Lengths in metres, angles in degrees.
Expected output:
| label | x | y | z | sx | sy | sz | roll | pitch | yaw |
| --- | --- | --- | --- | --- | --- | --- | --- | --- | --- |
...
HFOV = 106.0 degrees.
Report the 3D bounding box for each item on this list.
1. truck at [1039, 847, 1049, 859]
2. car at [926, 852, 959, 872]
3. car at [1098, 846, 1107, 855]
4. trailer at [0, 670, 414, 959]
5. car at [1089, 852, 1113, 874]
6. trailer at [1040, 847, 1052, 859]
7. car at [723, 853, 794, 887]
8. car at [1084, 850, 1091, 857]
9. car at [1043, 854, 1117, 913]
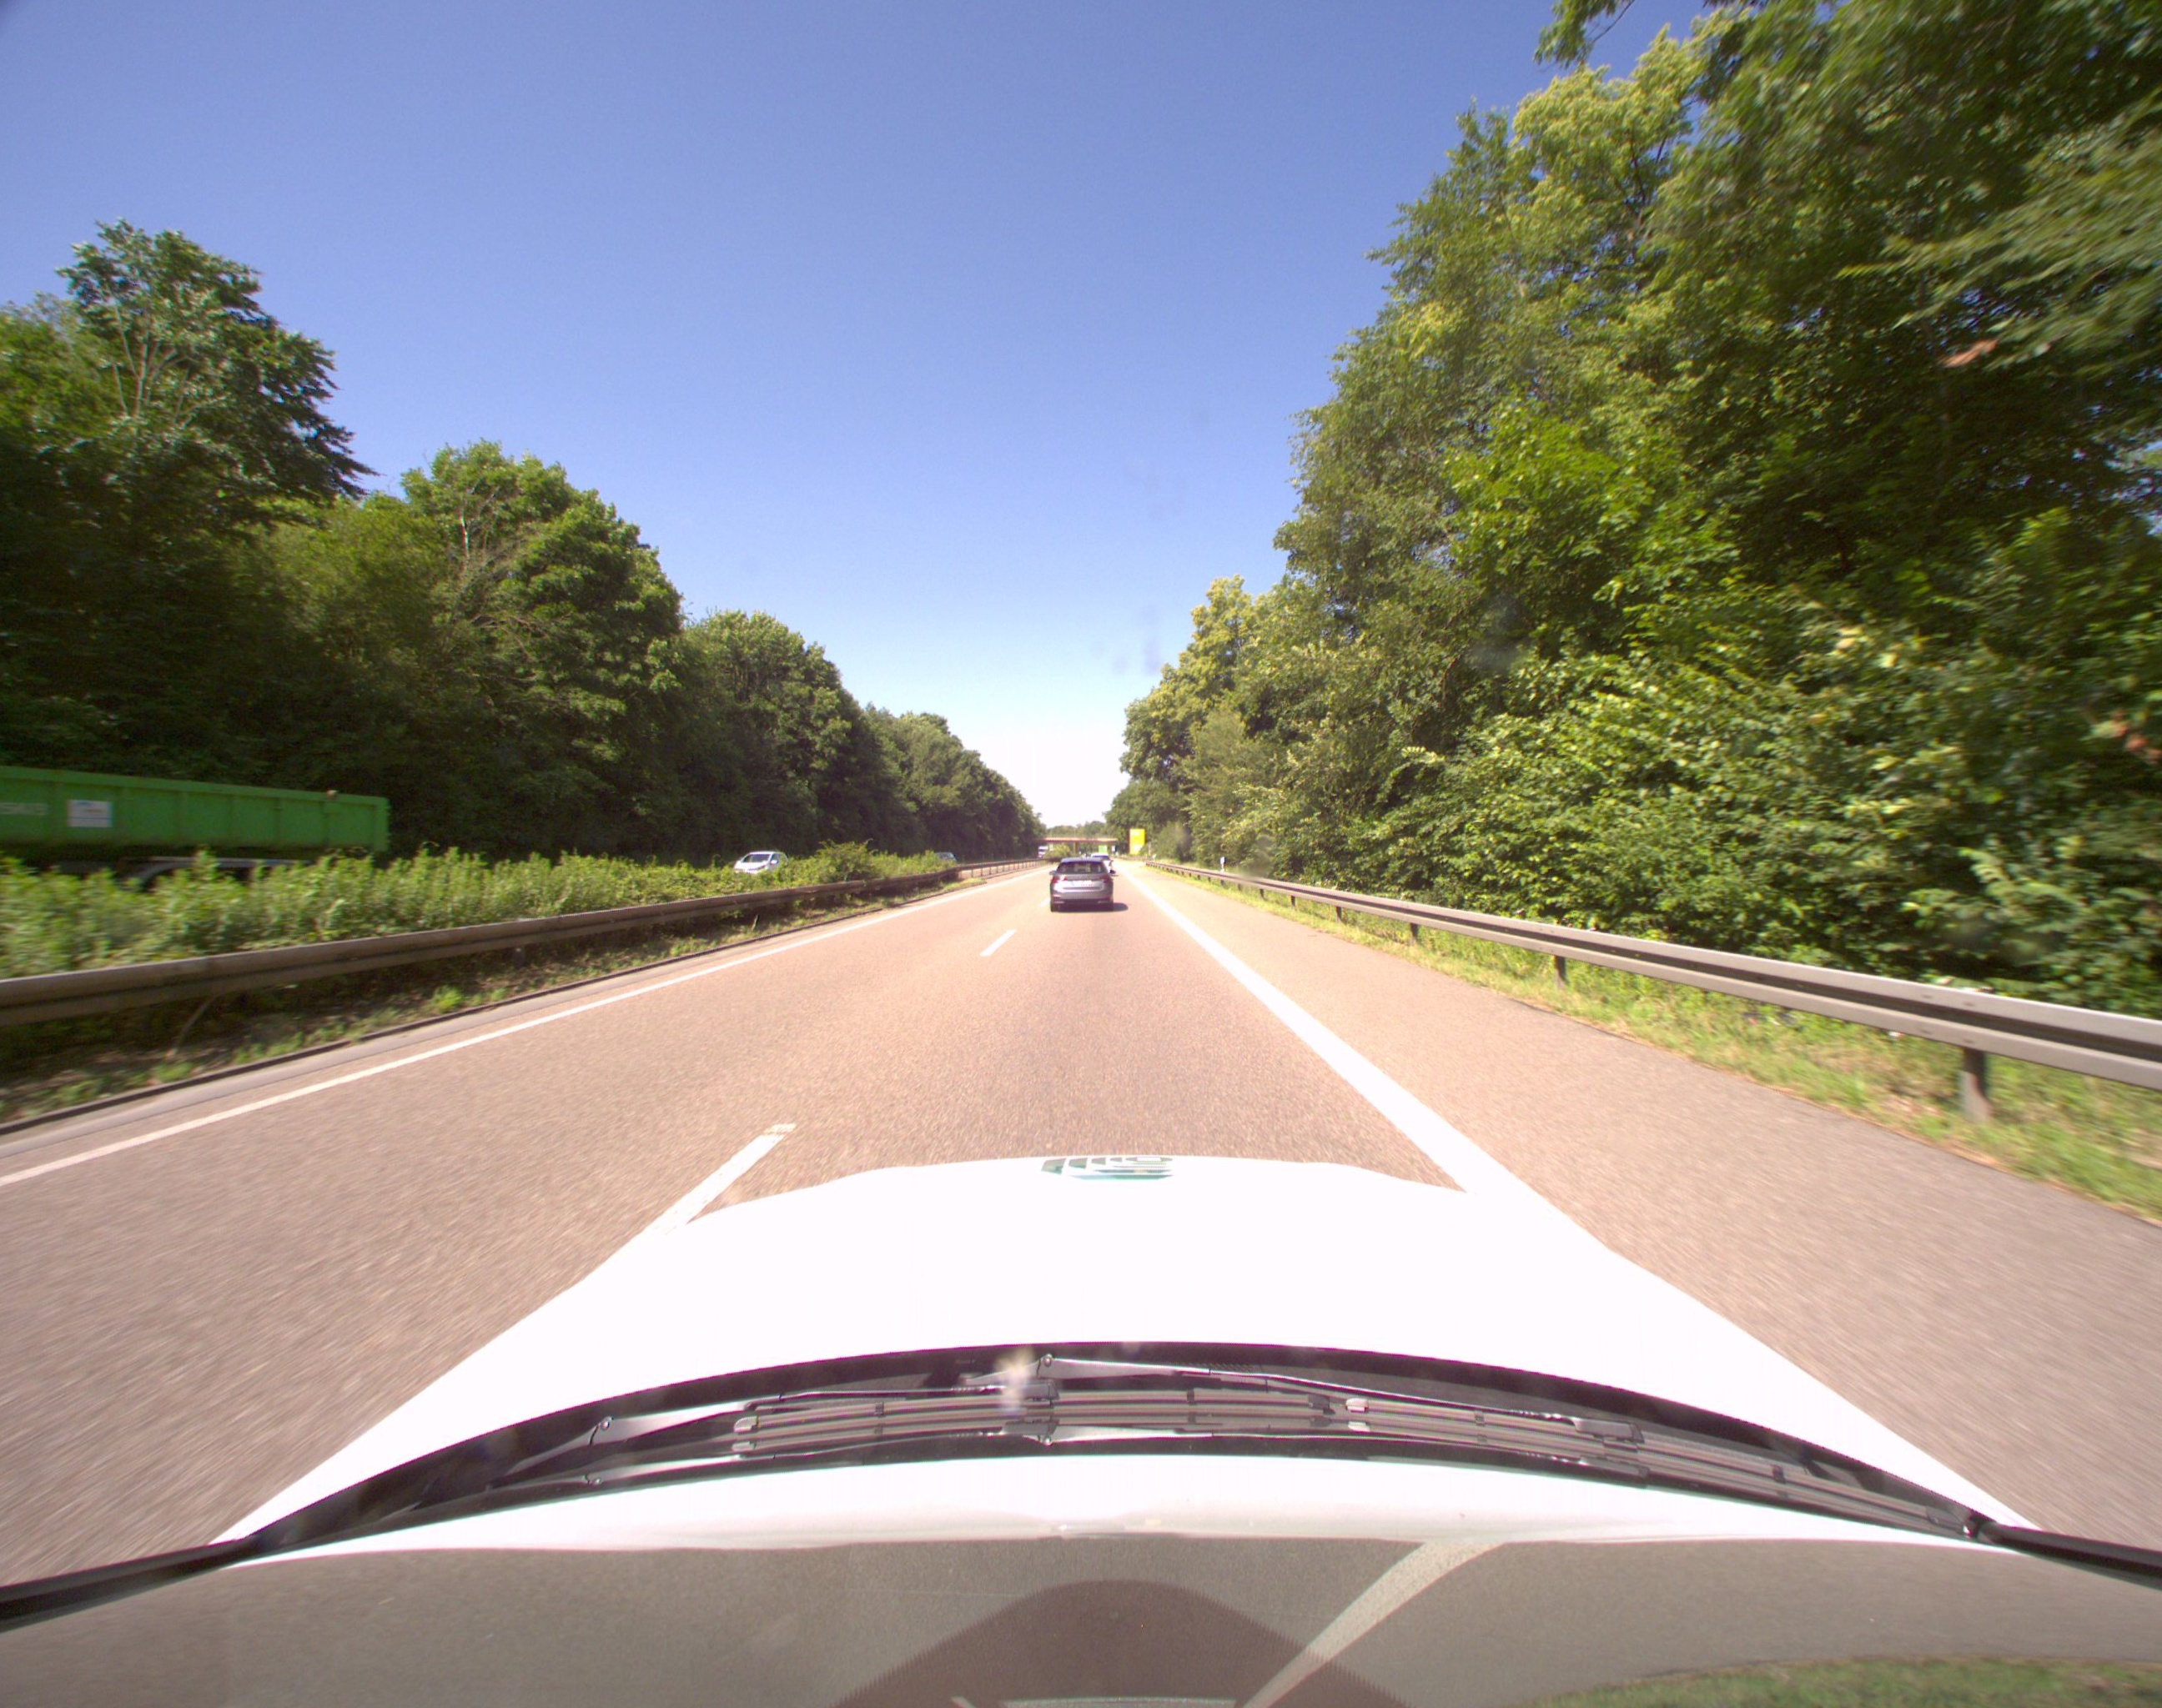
| label | x | y | z | sx | sy | sz | roll | pitch | yaw |
| --- | --- | --- | --- | --- | --- | --- | --- | --- | --- |
| truck | -9.988 | -0.352 | 221.460 | 2.416 | 3.258 | 4.002 | -1 | 0 | 2 |
| car | -10.537 | 0.597 | 62.204 | 1.665 | 1.473 | 3.626 | -1 | 0 | 3 |
| car | 6.474 | -1.018 | 242.240 | 2.738 | 2.654 | 4.001 | -1 | 0 | 1 |
| trailer | -15.139 | -0.487 | 12.692 | 2.678 | 3.712 | 7.987 | -1 | 0 | 2 |
| car | 1.385 | 0.598 | 55.480 | 1.516 | 1.446 | 3.343 | -1 | 0 | 3 |
| trailer | -9.767 | -0.313 | 228.660 | 2.483 | 3.235 | 14.437 | -1 | 0 | 2 |
| car | -14.804 | 0.703 | 37.587 | 1.665 | 1.473 | 3.626 | -1 | 0 | 3 |
| car | 1.815 | -0.184 | 226.424 | 1.986 | 2.013 | 4.001 | -1 | 0 | 2 |
| car | 0.063 | 0.760 | 22.606 | 1.832 | 1.472 | 3.626 | -1 | 0 | 3 |
